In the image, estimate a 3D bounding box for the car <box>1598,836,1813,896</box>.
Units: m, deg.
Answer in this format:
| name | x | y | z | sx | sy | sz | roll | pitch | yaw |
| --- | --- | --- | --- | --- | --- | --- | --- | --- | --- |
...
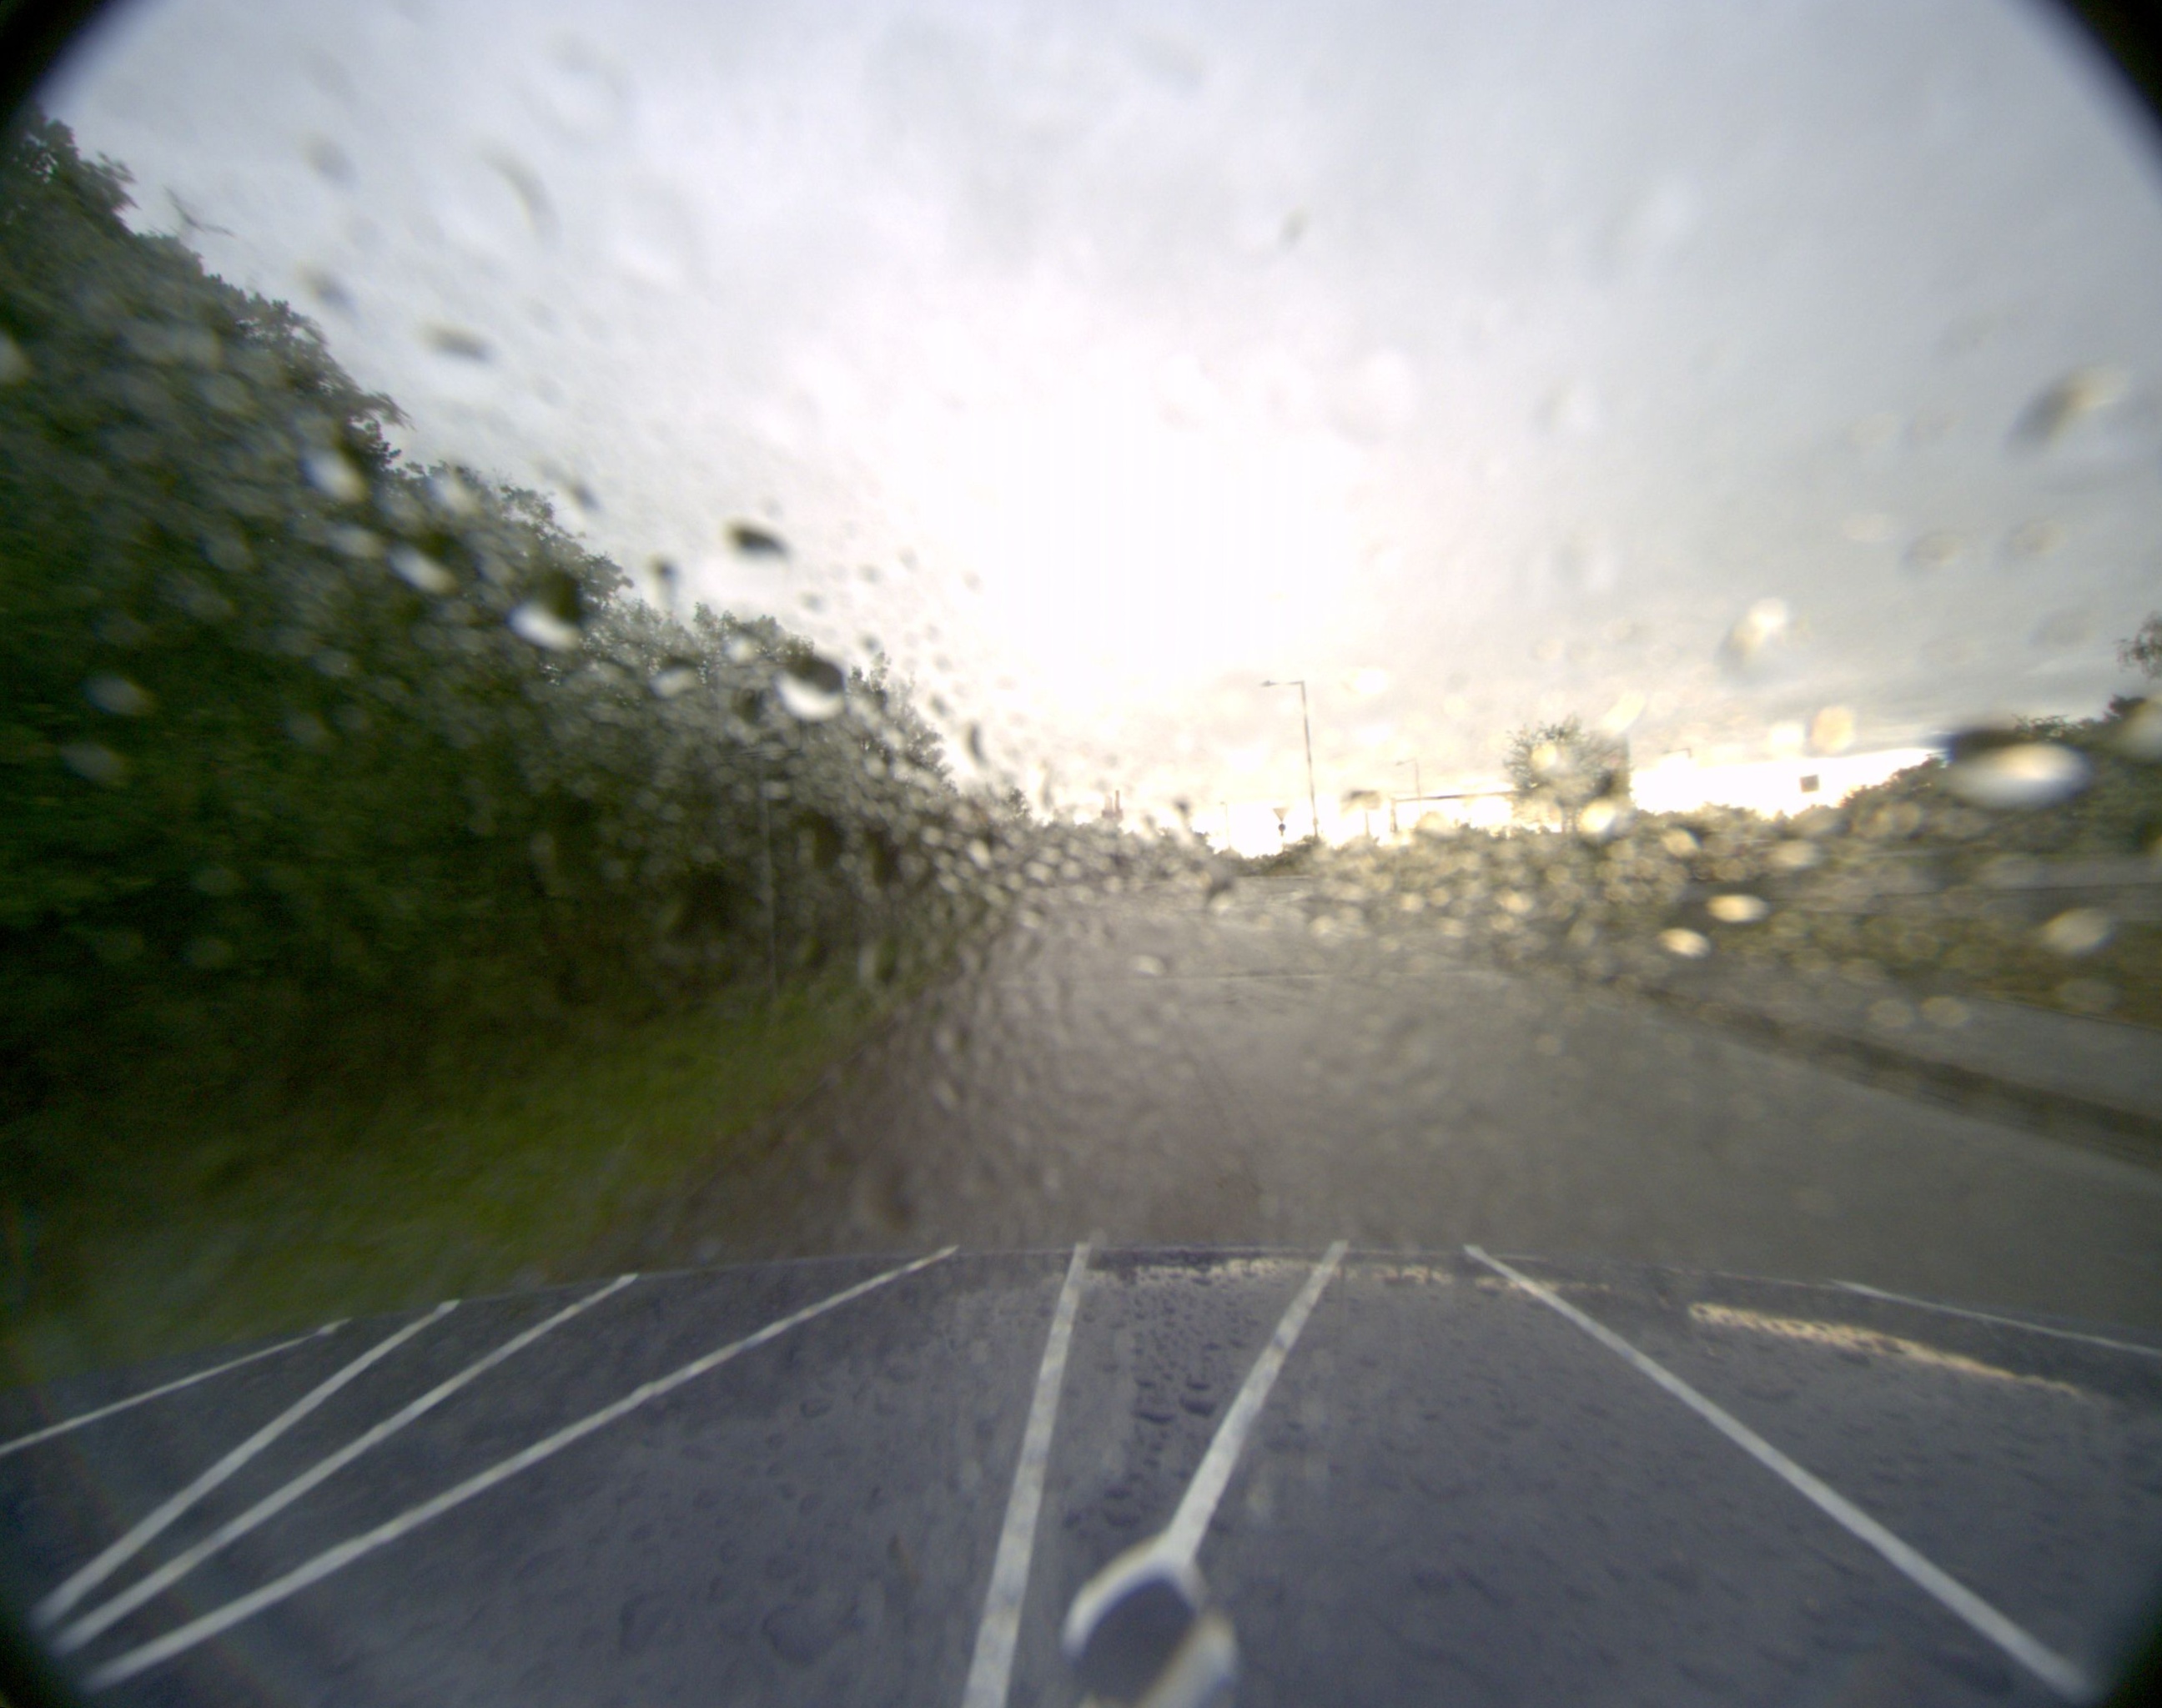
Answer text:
| name | x | y | z | sx | sy | sz | roll | pitch | yaw |
| --- | --- | --- | --- | --- | --- | --- | --- | --- | --- |
| car | 16.935 | 0.342 | 20.971 | 1.999 | 1.406 | 4.427 | -2 | -1 | -5 |
